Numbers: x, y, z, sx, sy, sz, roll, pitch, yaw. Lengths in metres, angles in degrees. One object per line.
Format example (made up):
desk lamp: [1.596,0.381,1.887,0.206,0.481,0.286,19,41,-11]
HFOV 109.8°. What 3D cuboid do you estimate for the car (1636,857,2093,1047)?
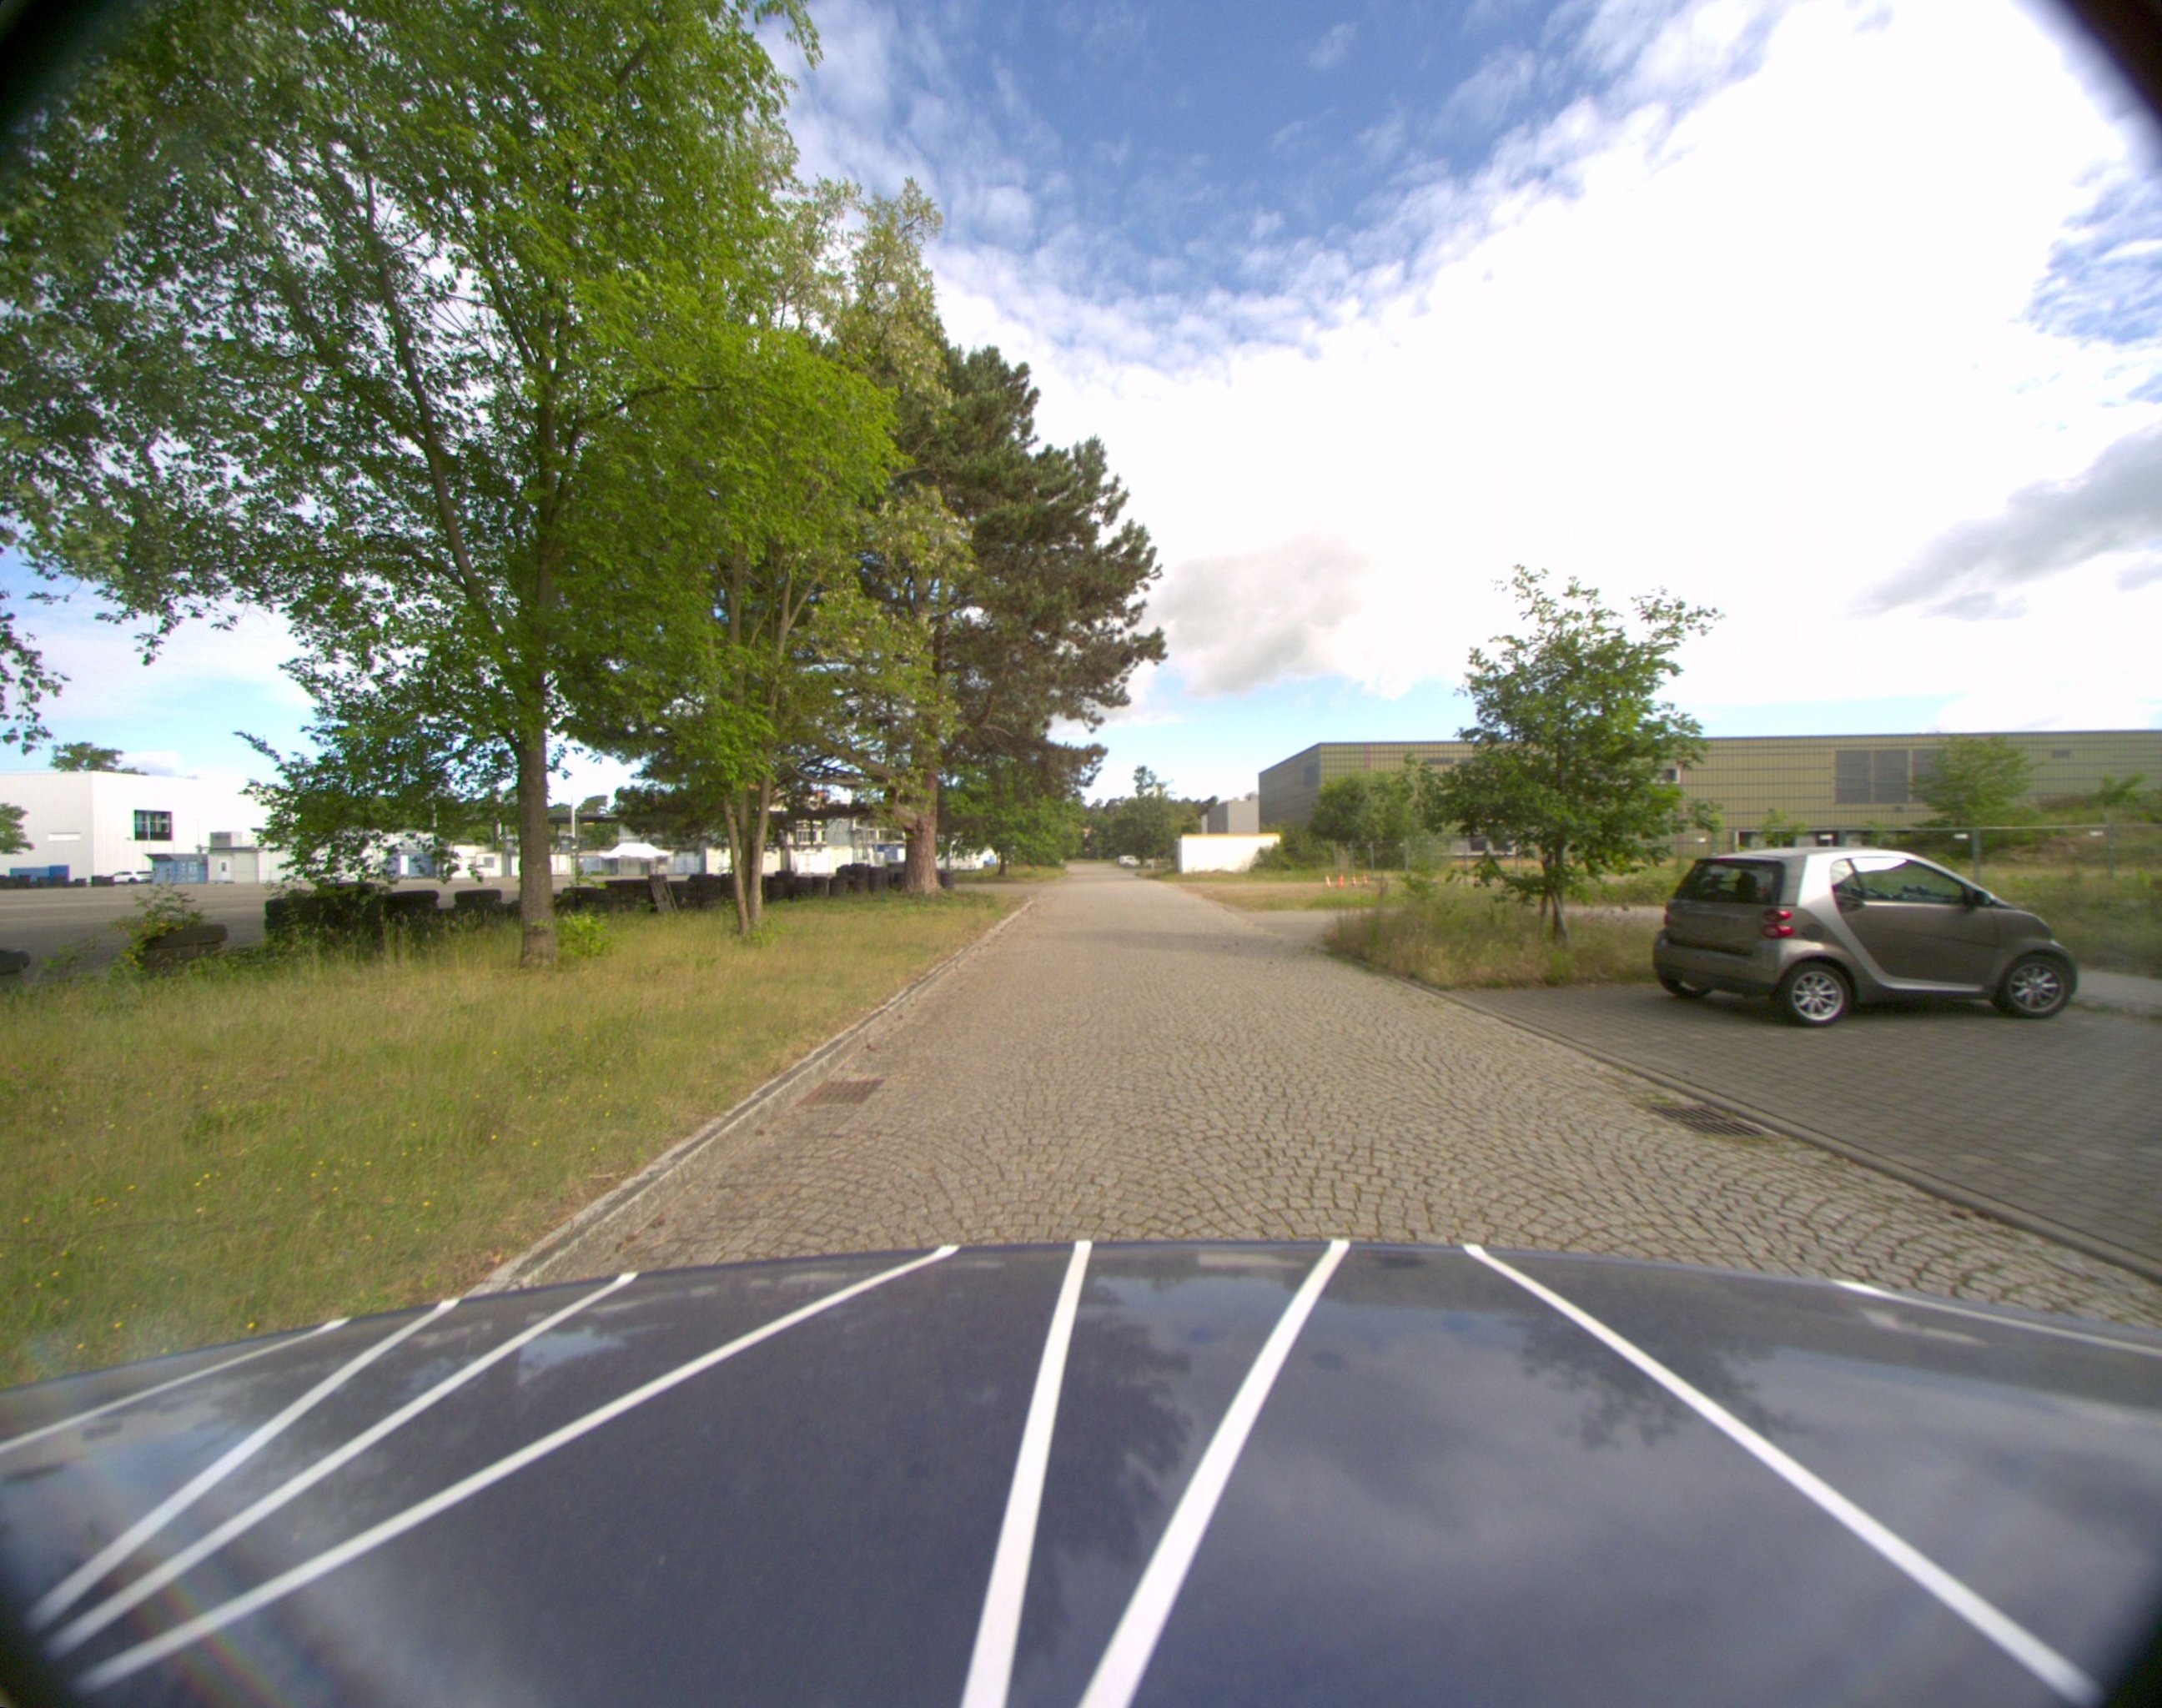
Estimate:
car: [7.227,0.835,7.238,2.661,1.502,1.610,-2,0,0]

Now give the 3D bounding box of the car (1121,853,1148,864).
car: [8.069,0.608,114.463,3.996,1.604,1.797,-1,0,4]
